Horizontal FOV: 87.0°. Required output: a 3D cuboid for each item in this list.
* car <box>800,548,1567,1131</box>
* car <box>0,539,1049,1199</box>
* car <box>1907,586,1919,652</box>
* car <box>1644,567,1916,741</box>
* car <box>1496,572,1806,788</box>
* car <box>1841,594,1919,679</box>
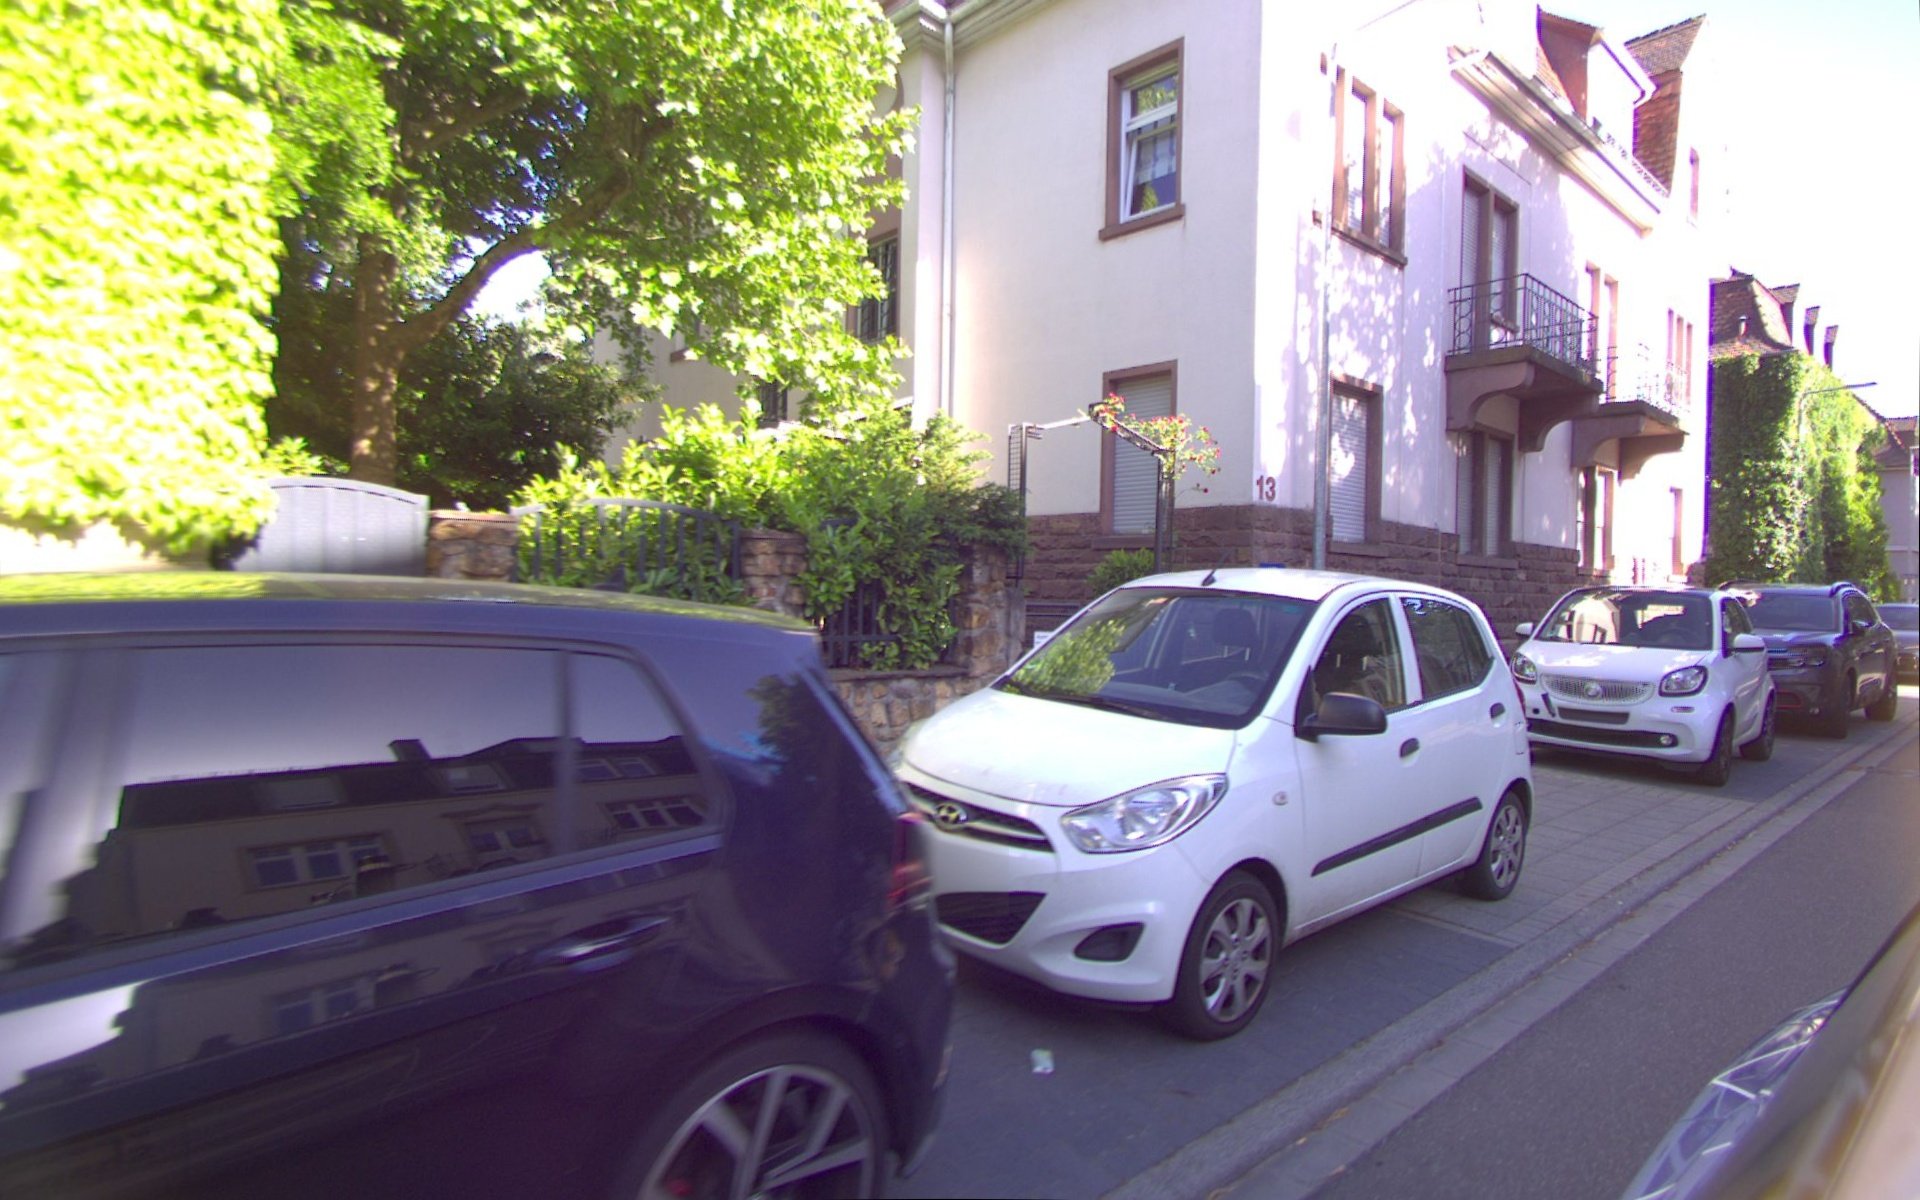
[{"bbox_3d":[1.176,0.583,4.441,3.409,1.568,1.578,-2,3,-42],"label":"car"},{"bbox_3d":[-1.923,0.644,1.429,4.121,1.453,1.712,-2,4,-42],"label":"car"},{"bbox_3d":[26.569,0.505,26.684,4.125,1.665,1.871,0,2,-41],"label":"car"},{"bbox_3d":[9.898,0.502,12.099,4.245,1.717,1.781,-2,0,-41],"label":"car"},{"bbox_3d":[6.155,0.556,8.943,2.820,1.568,1.627,-1,1,-41],"label":"car"},{"bbox_3d":[18.163,0.628,19.199,4.425,1.472,1.646,0,1,-42],"label":"car"}]
